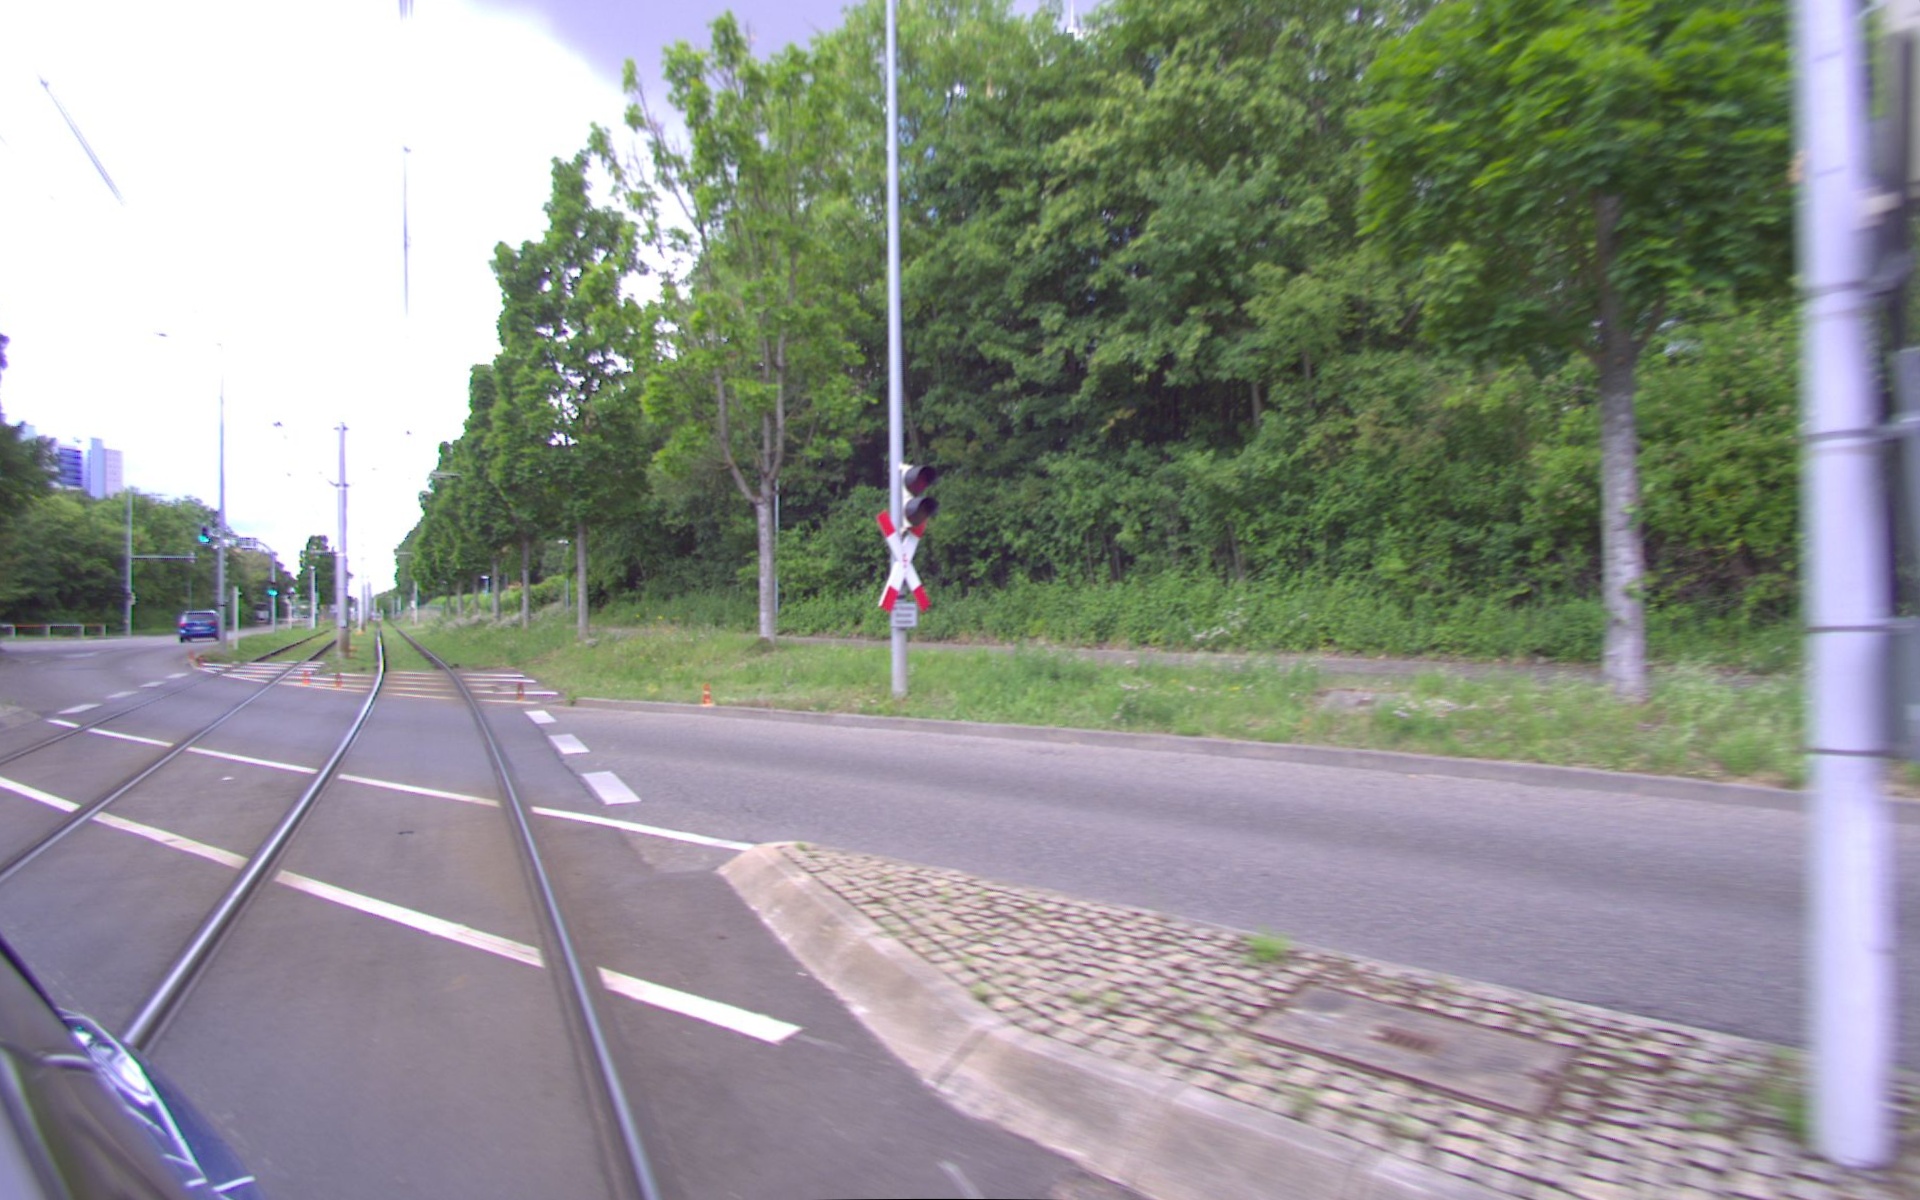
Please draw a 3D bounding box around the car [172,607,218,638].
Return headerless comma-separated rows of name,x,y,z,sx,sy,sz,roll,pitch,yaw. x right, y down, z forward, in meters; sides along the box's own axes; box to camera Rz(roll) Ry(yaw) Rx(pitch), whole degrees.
car,-41.216,1.214,54.600,1.842,1.532,4.249,-1,-1,-35
